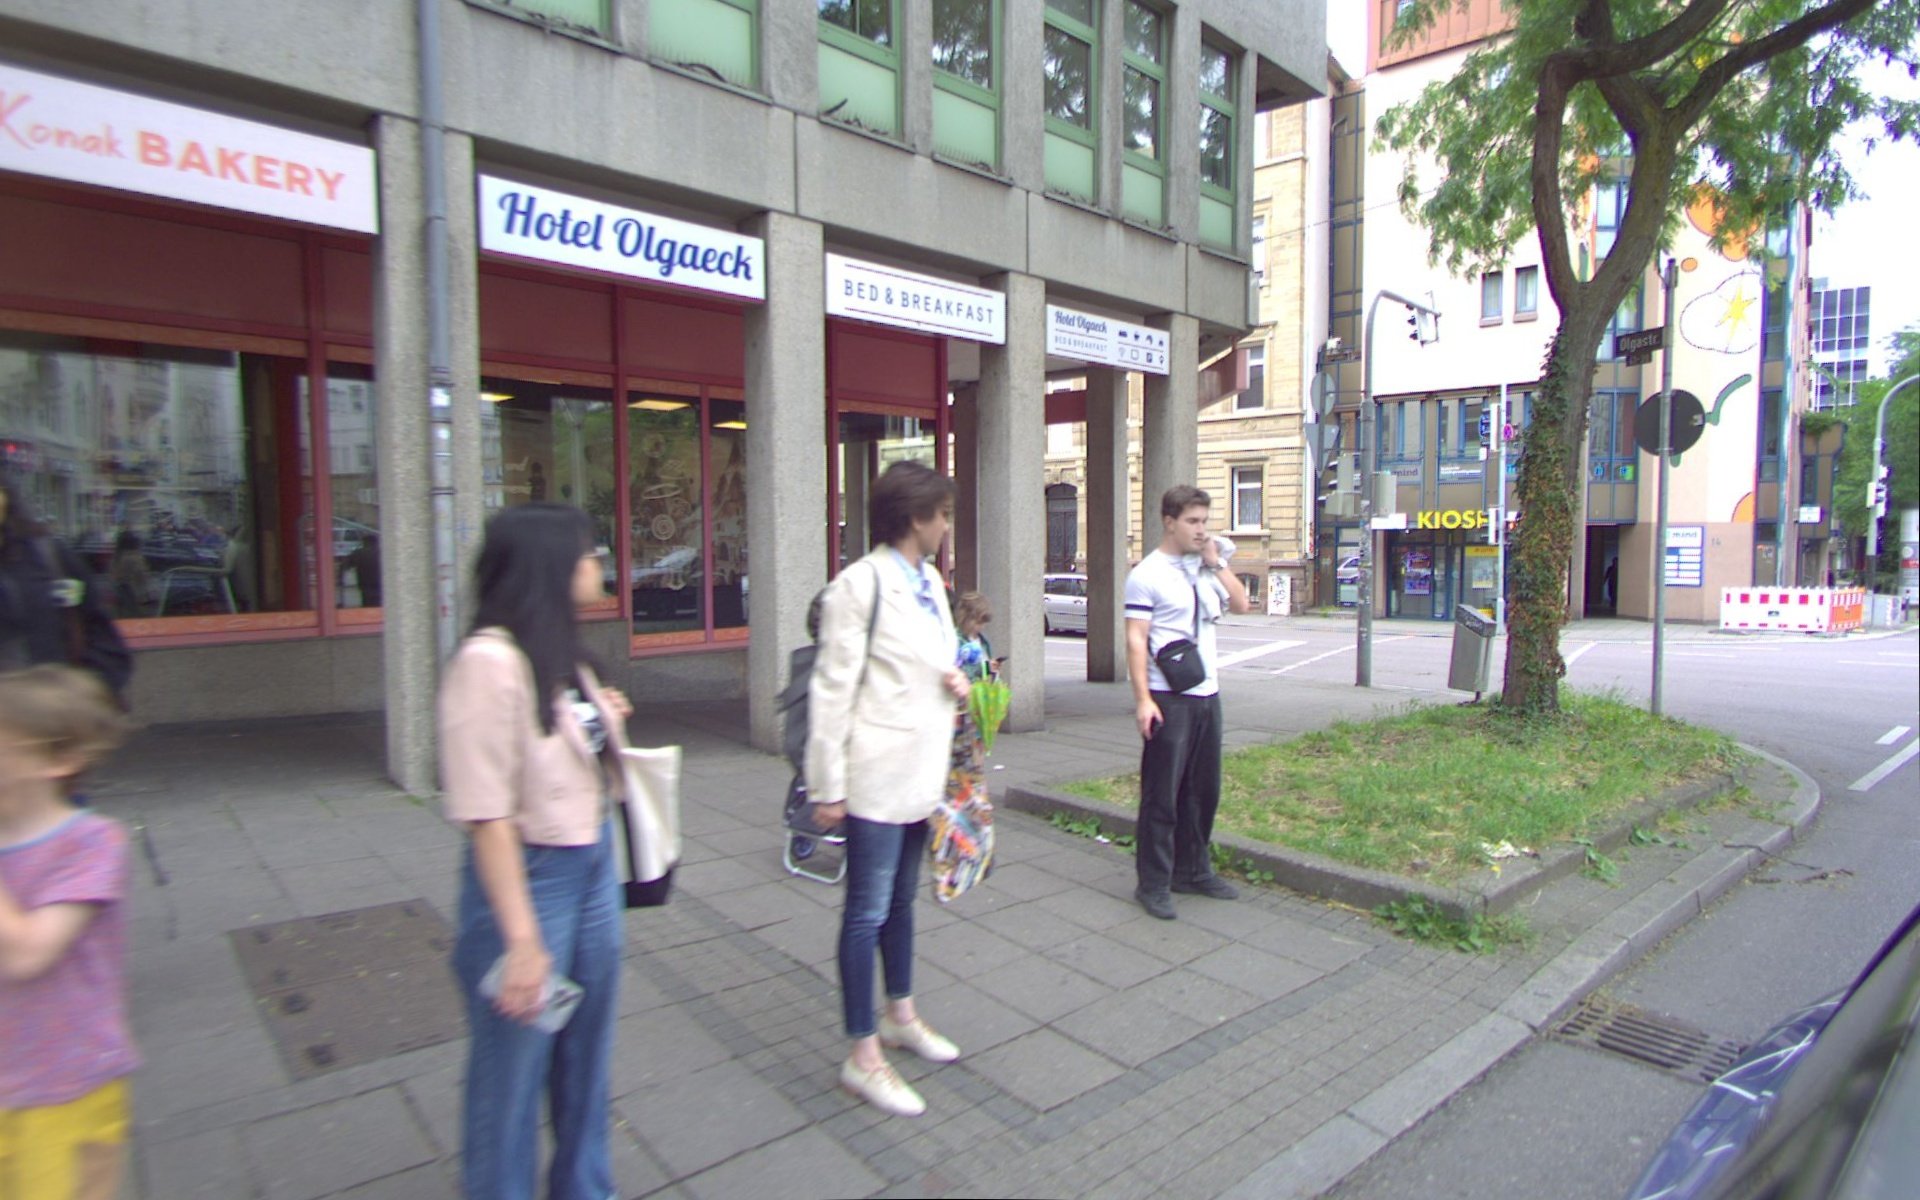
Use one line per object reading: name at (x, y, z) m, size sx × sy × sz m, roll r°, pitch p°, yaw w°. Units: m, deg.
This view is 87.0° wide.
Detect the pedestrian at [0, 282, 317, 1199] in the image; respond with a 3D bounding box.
pedestrian at (-1.520, 0.393, 1.520) m, size 0.836 × 1.582 × 0.752 m, roll 1°, pitch 2°, yaw 44°

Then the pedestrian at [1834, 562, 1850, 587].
pedestrian at (59.995, -1.737, 68.805) m, size 0.676 × 1.732 × 0.710 m, roll -1°, pitch 2°, yaw -42°

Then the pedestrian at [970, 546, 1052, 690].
pedestrian at (0.626, 0.192, 12.812) m, size 0.839 × 1.734 × 1.128 m, roll 0°, pitch 2°, yaw -7°

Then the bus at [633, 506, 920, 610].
bus at (-6.644, -1.467, 34.783) m, size 11.533 × 3.080 × 2.835 m, roll 2°, pitch 3°, yaw 38°

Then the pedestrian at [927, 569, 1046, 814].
pedestrian at (0.157, 0.498, 5.948) m, size 0.471 × 1.350 × 0.511 m, roll 1°, pitch 2°, yaw 44°

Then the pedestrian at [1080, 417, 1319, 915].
pedestrian at (1.027, 0.234, 4.361) m, size 0.734 × 1.897 × 0.722 m, roll 2°, pitch 3°, yaw 44°

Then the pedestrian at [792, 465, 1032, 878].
pedestrian at (-0.236, 0.299, 4.999) m, size 0.721 × 1.825 × 0.821 m, roll 5°, pitch 2°, yaw 44°

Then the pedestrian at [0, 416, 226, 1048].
pedestrian at (-2.625, 0.330, 2.865) m, size 0.616 × 1.632 × 0.752 m, roll 5°, pitch 2°, yaw 44°

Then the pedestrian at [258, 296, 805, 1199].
pedestrian at (-0.890, 0.387, 2.062) m, size 0.836 × 1.724 × 0.752 m, roll 5°, pitch 4°, yaw 44°

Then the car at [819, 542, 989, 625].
car at (-1.520, -0.498, 26.786) m, size 4.246 × 2.038 × 1.974 m, roll 2°, pitch 3°, yaw 37°

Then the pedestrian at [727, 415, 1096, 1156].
pedestrian at (-0.152, 0.420, 2.891) m, size 0.694 × 1.798 × 0.679 m, roll 8°, pitch 7°, yaw 44°

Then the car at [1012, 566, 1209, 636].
car at (3.417, -0.044, 23.284) m, size 4.138 × 1.445 × 1.830 m, roll 2°, pitch 3°, yaw 37°
